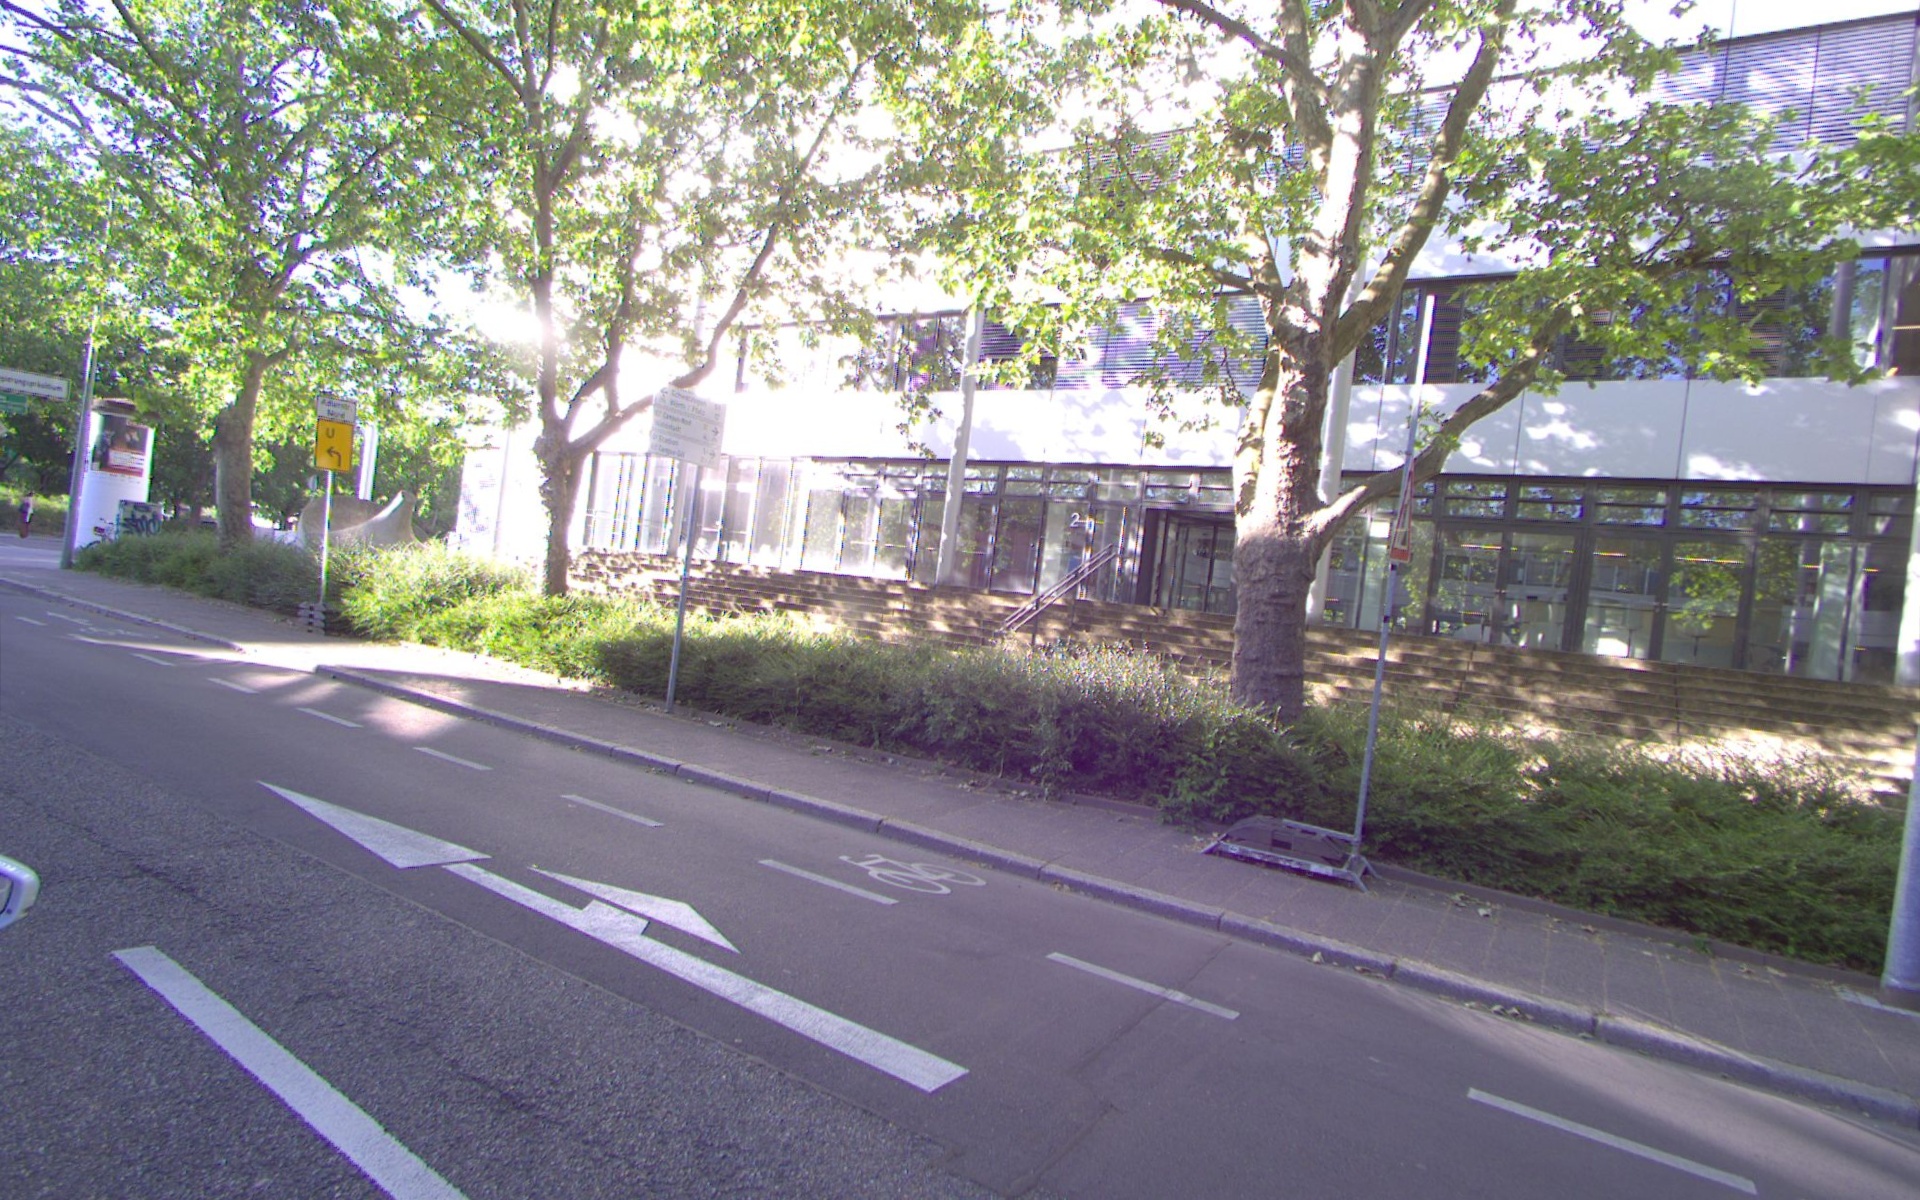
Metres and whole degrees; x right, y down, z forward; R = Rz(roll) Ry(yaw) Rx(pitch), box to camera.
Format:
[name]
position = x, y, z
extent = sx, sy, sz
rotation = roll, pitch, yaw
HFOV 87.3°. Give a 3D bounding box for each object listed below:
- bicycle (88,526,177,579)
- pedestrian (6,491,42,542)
[bicycle]
position = -19.048, -1.073, 23.182
extent = 0.295, 0.991, 1.484
rotation = 6, -2, 37
[pedestrian]
position = -35.211, -3.148, 37.857
extent = 0.672, 1.793, 0.613
rotation = 8, -1, -29
